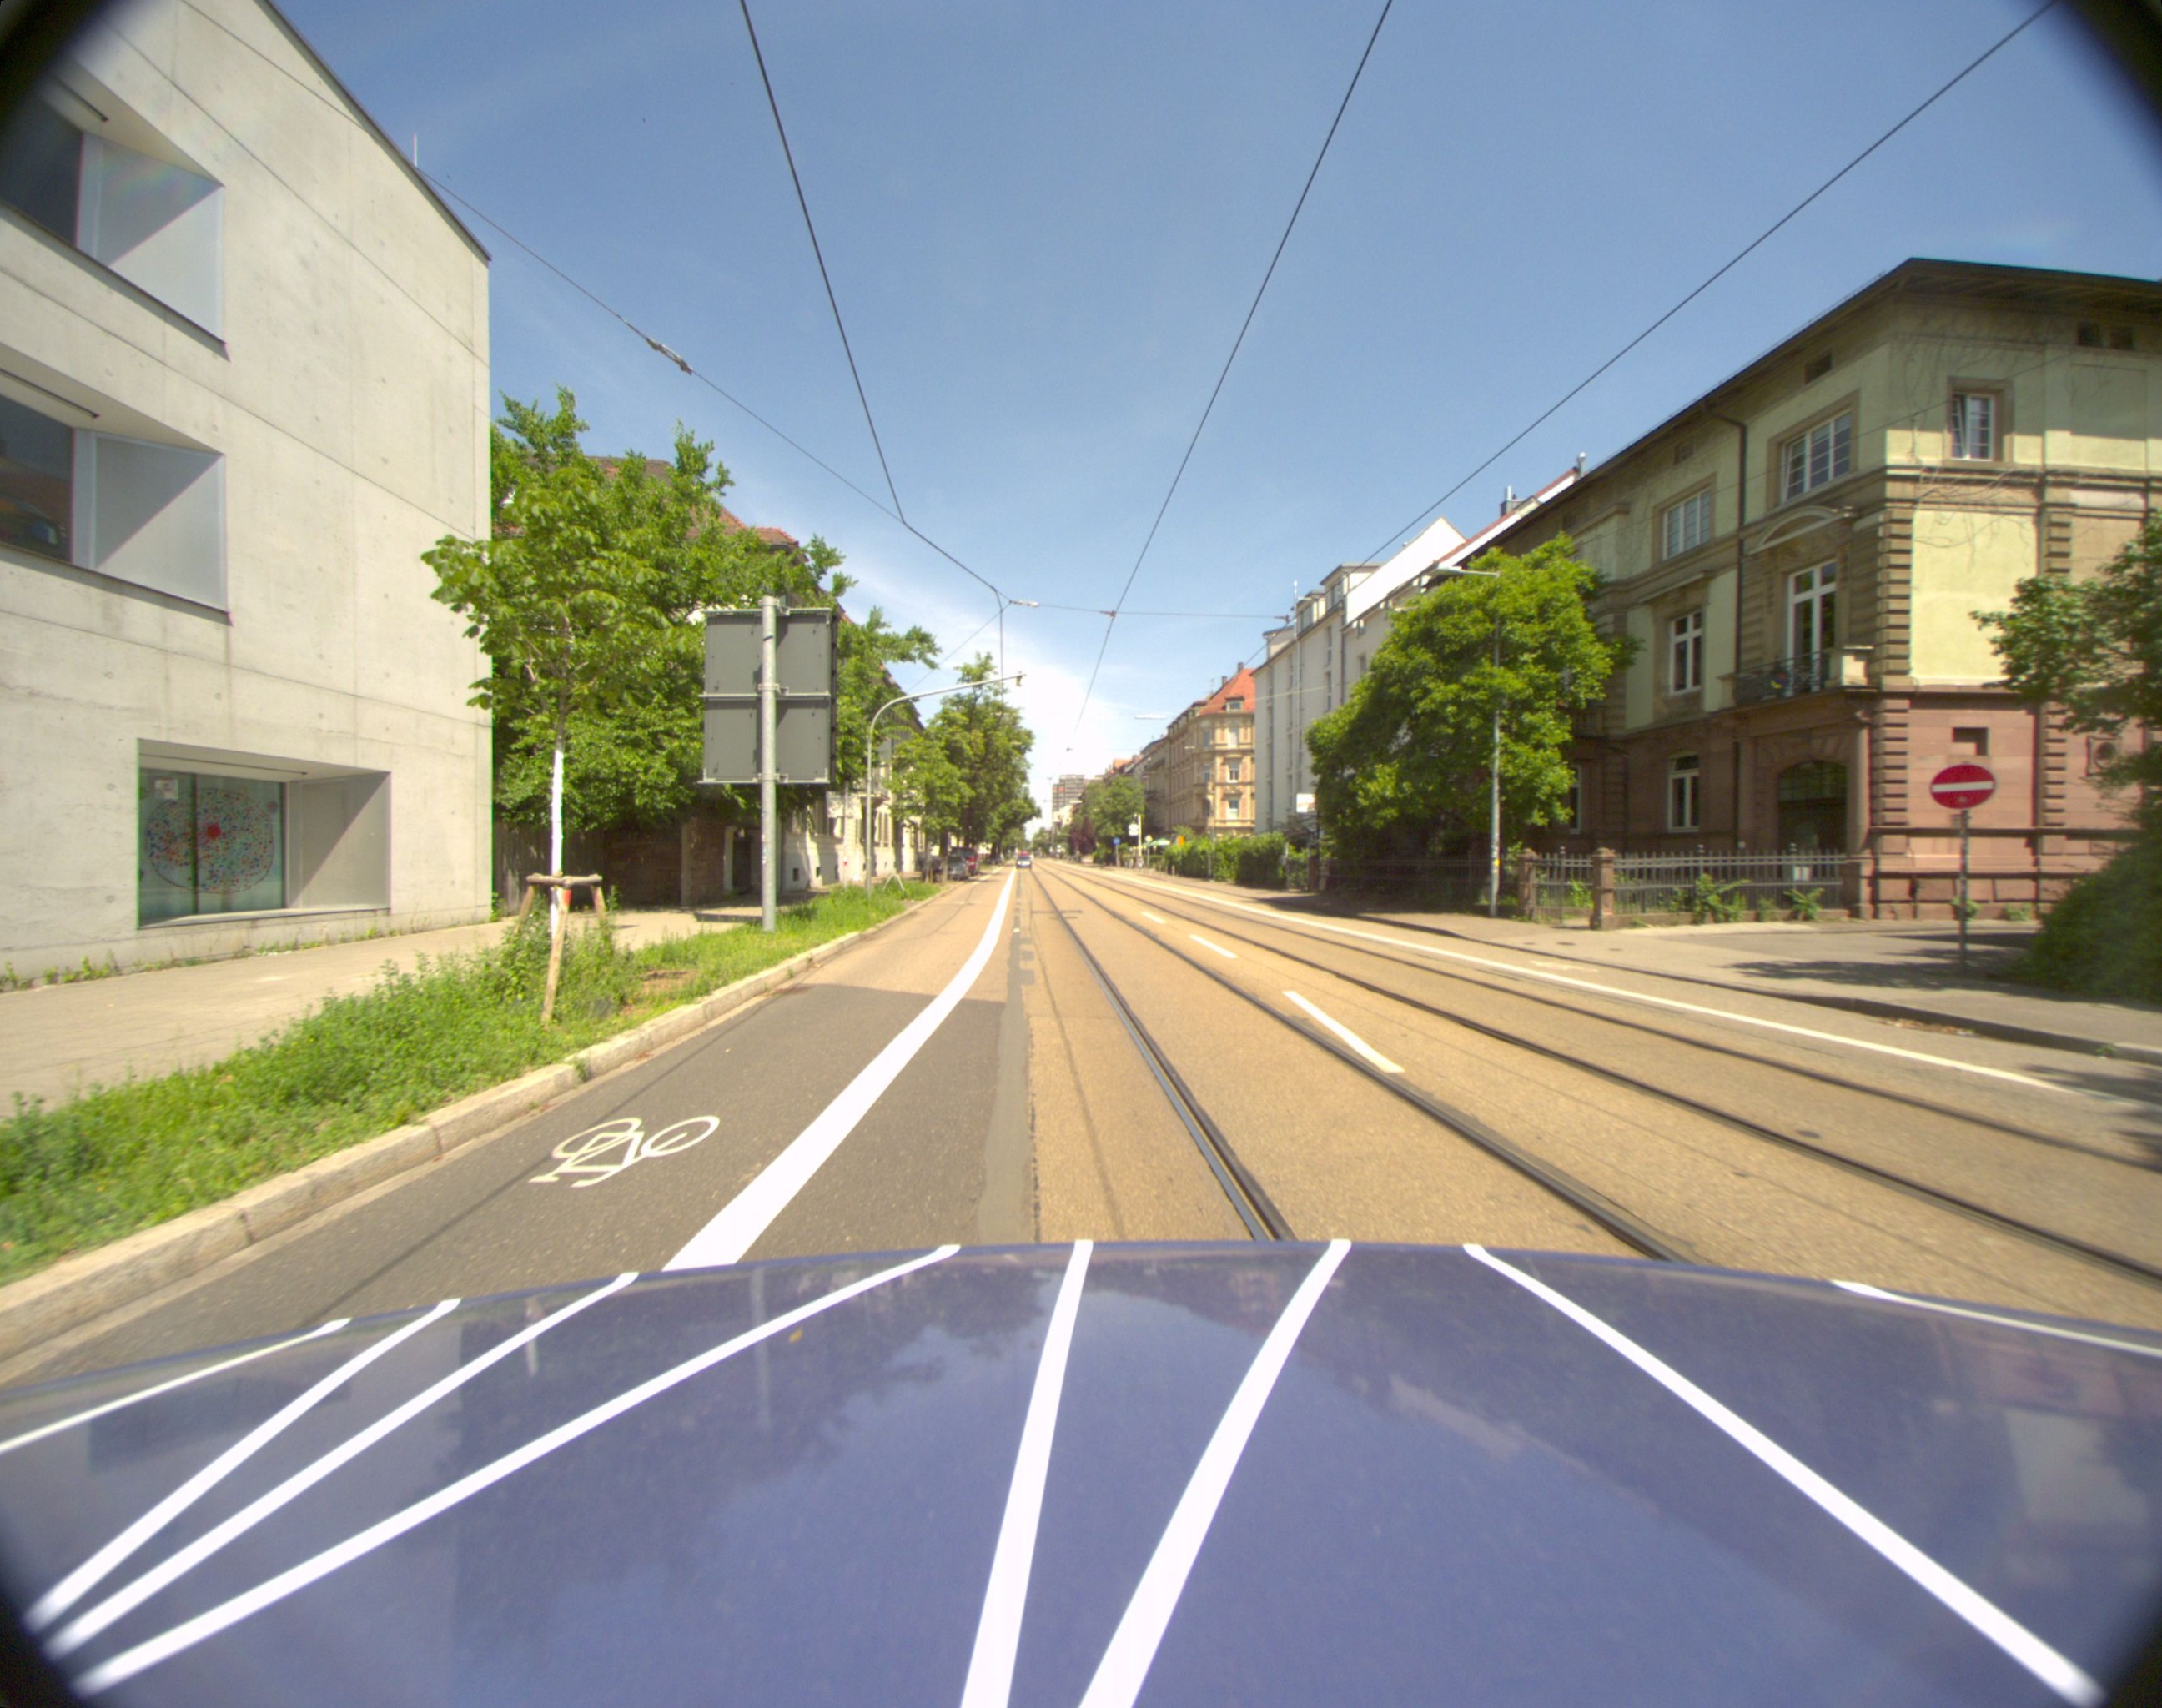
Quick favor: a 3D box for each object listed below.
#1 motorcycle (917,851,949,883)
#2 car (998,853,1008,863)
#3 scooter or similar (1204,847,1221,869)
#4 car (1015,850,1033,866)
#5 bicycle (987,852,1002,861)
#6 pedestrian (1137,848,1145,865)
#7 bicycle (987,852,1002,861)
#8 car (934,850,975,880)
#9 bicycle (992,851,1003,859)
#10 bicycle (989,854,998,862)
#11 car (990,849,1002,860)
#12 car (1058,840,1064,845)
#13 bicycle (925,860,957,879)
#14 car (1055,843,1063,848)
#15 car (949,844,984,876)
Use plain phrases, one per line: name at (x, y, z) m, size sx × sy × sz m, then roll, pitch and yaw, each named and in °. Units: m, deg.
motorcycle at (-7.111, 0.595, 36.632) m, size 0.746 × 1.497 × 2.560 m, roll 0°, pitch 1°, yaw 7°
car at (-13.234, 0.687, 129.020) m, size 1.540 × 1.535 × 3.997 m, roll -1°, pitch 1°, yaw -5°
scooter or similar at (8.553, 0.260, 49.488) m, size 1.012 × 1.443 × 0.597 m, roll -1°, pitch 2°, yaw -4°
car at (-6.287, 0.423, 83.512) m, size 1.894 × 1.561 × 4.034 m, roll -1°, pitch 2°, yaw -5°
bicycle at (-12.074, 0.350, 106.453) m, size 2.038 × 1.194 × 0.445 m, roll 0°, pitch 2°, yaw 5°
pedestrian at (5.789, 0.203, 73.265) m, size 0.742 × 1.632 × 0.939 m, roll 0°, pitch 1°, yaw -2°
bicycle at (-12.085, 0.383, 105.937) m, size 2.038 × 1.193 × 0.445 m, roll 0°, pitch 1°, yaw 5°
car at (-7.230, 0.578, 43.897) m, size 1.865 × 1.568 × 4.874 m, roll -1°, pitch 1°, yaw -4°
bicycle at (-12.659, 0.193, 115.300) m, size 1.623 × 1.194 × 0.305 m, roll -1°, pitch 2°, yaw -3°
bicycle at (-11.659, 0.505, 101.326) m, size 1.170 × 1.057 × 0.279 m, roll 0°, pitch 2°, yaw -2°
car at (-12.394, 0.050, 110.539) m, size 1.597 × 1.444 × 3.630 m, roll 1°, pitch 0°, yaw -4°
car at (-5.528, -3.243, 209.815) m, size 1.494 × 1.372 × 3.628 m, roll -1°, pitch 2°, yaw -5°
bicycle at (-7.409, 0.816, 40.226) m, size 1.662 × 1.010 × 0.371 m, roll 0°, pitch 1°, yaw -4°
car at (-6.585, -2.561, 228.272) m, size 1.999 × 1.716 × 3.869 m, roll 0°, pitch 0°, yaw -5°
car at (-7.771, 0.342, 52.116) m, size 1.865 × 2.002 × 4.973 m, roll -1°, pitch 1°, yaw -3°
